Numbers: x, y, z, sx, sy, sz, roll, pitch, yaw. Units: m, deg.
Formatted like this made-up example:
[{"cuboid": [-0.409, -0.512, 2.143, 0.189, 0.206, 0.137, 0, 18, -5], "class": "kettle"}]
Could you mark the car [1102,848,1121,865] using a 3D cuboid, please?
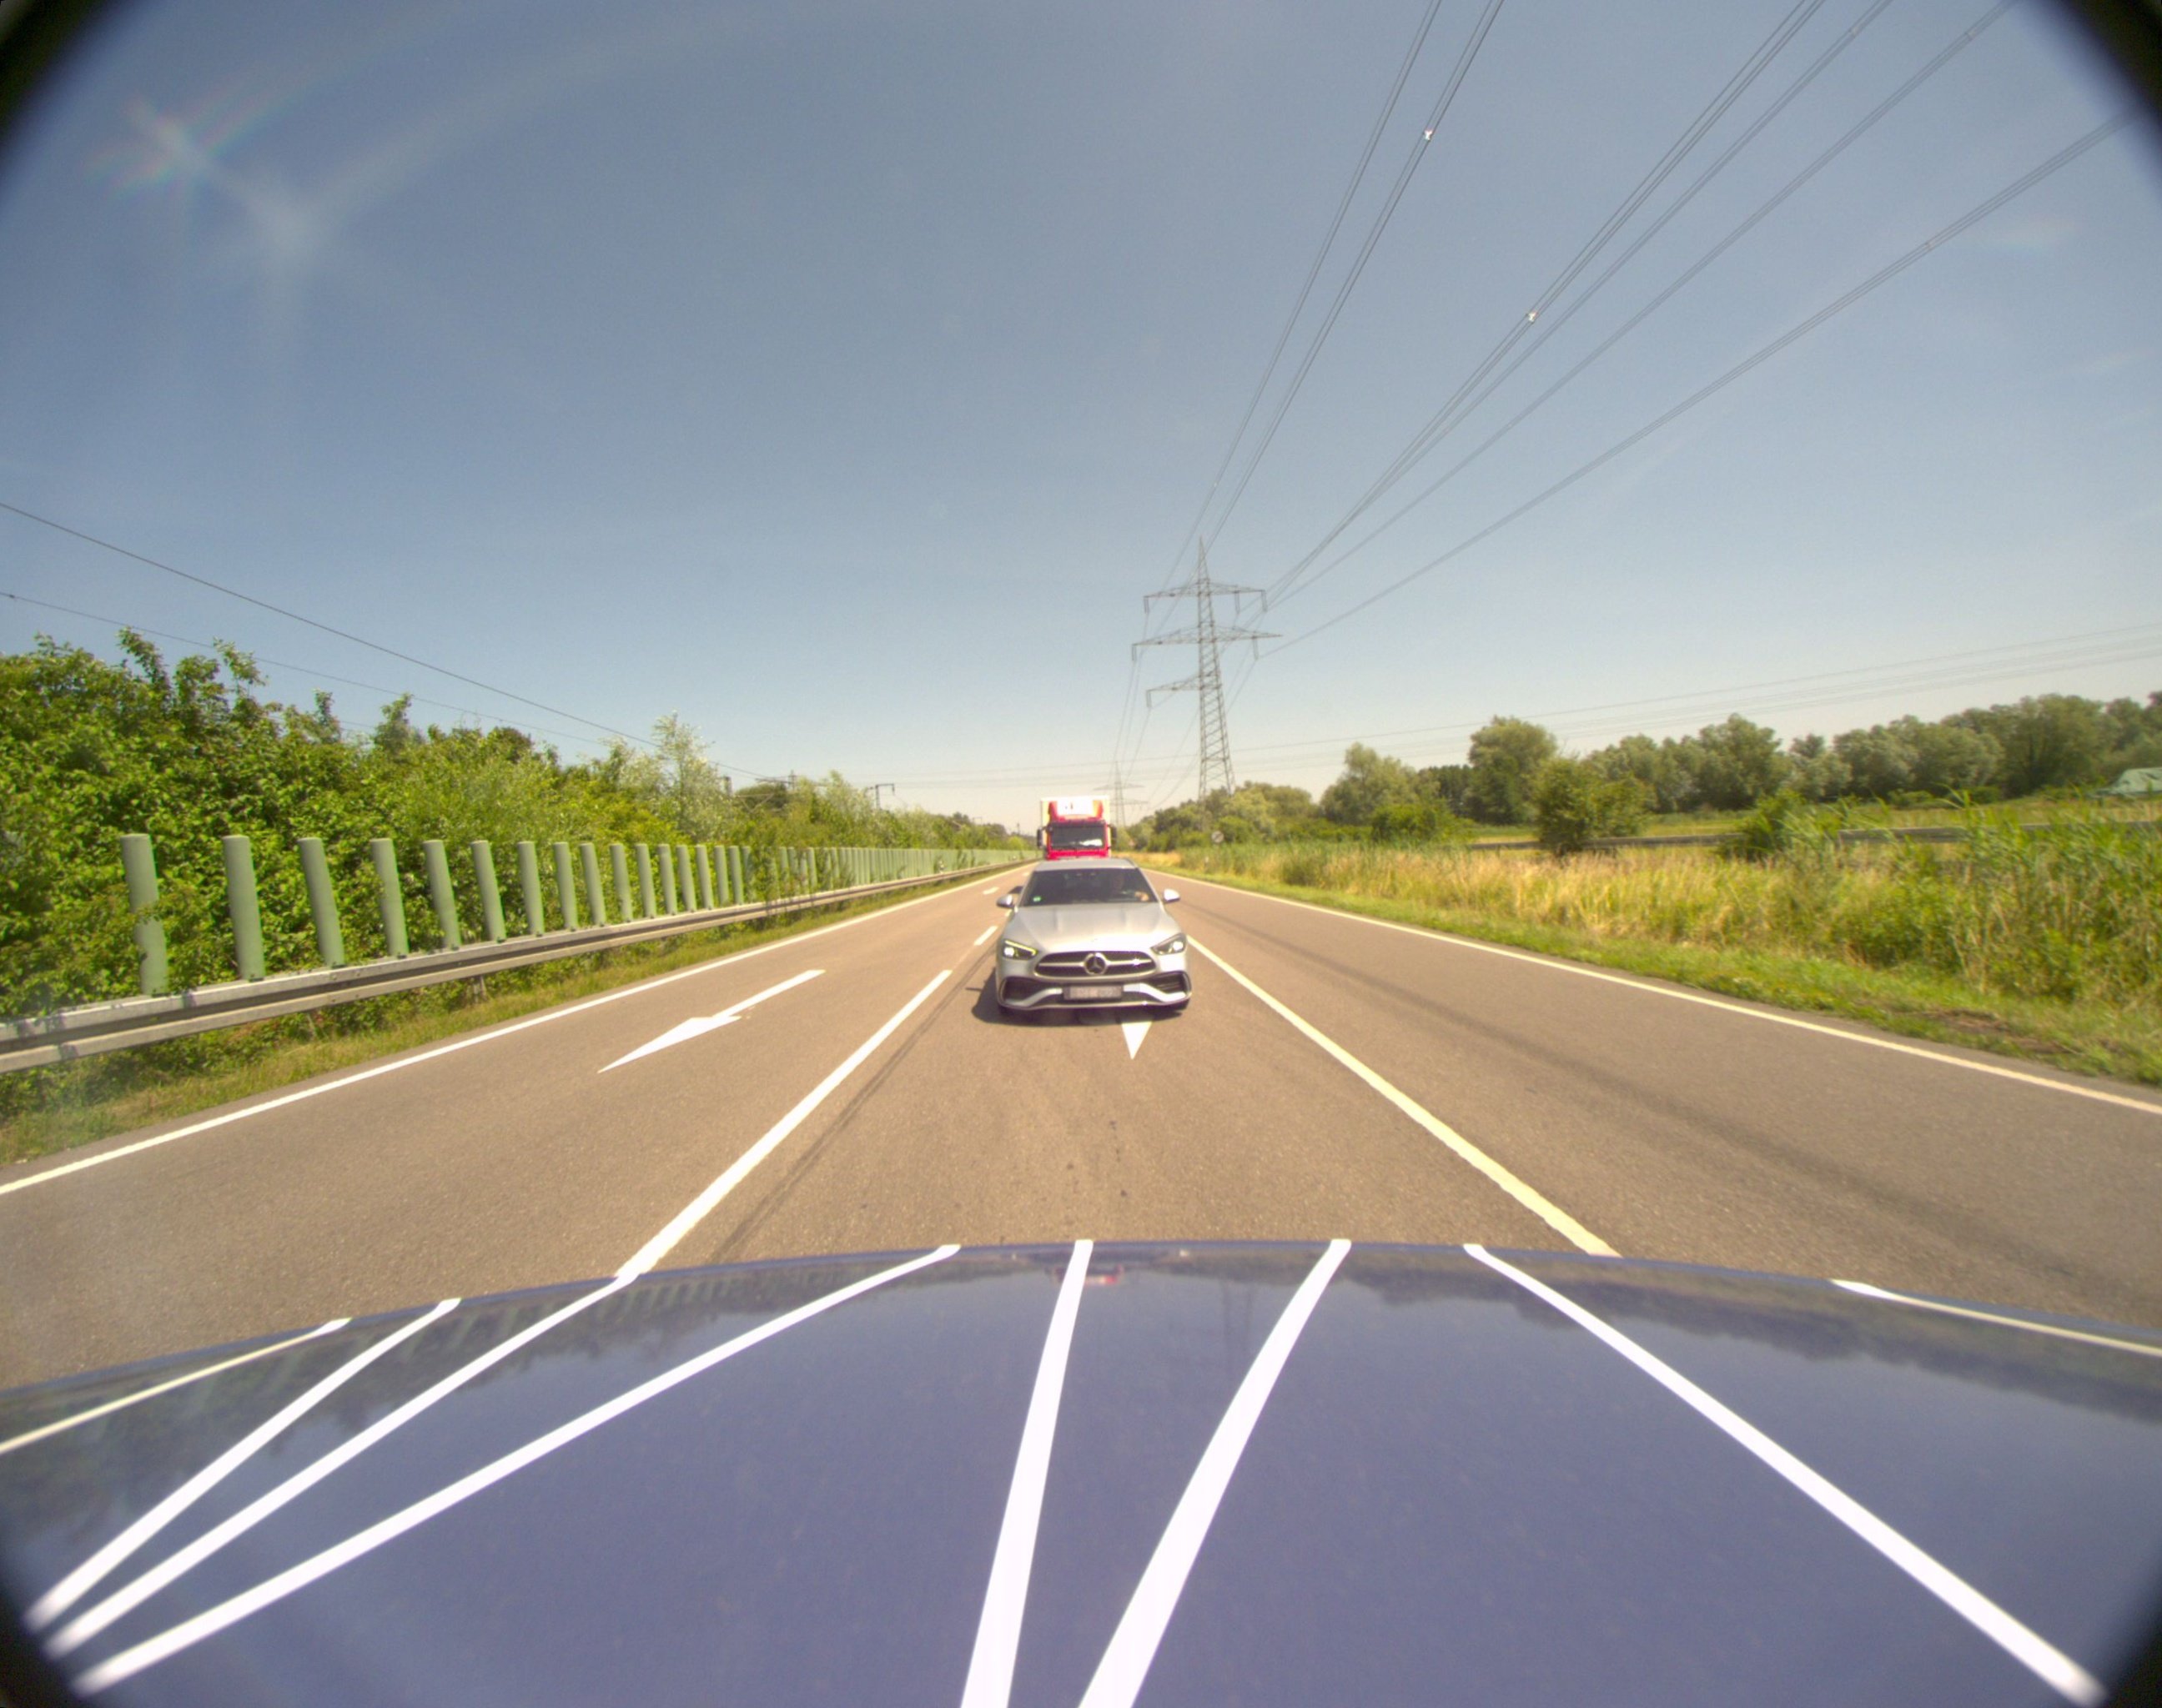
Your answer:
[{"cuboid": [3.090, 0.231, 78.035, 1.786, 1.455, 4.000, -5, 1, 2], "class": "car"}]

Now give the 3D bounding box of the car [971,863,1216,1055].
[{"cuboid": [0.099, 0.900, 8.567, 1.999, 1.437, 4.466, -2, 1, 0], "class": "car"}]

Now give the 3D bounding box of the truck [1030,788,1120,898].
[{"cuboid": [-0.236, -0.423, 30.021, 2.907, 3.641, 7.155, -4, 1, -1], "class": "truck"}]

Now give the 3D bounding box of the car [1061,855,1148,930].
[{"cuboid": [0.486, 0.771, 17.347, 1.698, 1.385, 4.467, -2, 1, 0], "class": "car"}]
